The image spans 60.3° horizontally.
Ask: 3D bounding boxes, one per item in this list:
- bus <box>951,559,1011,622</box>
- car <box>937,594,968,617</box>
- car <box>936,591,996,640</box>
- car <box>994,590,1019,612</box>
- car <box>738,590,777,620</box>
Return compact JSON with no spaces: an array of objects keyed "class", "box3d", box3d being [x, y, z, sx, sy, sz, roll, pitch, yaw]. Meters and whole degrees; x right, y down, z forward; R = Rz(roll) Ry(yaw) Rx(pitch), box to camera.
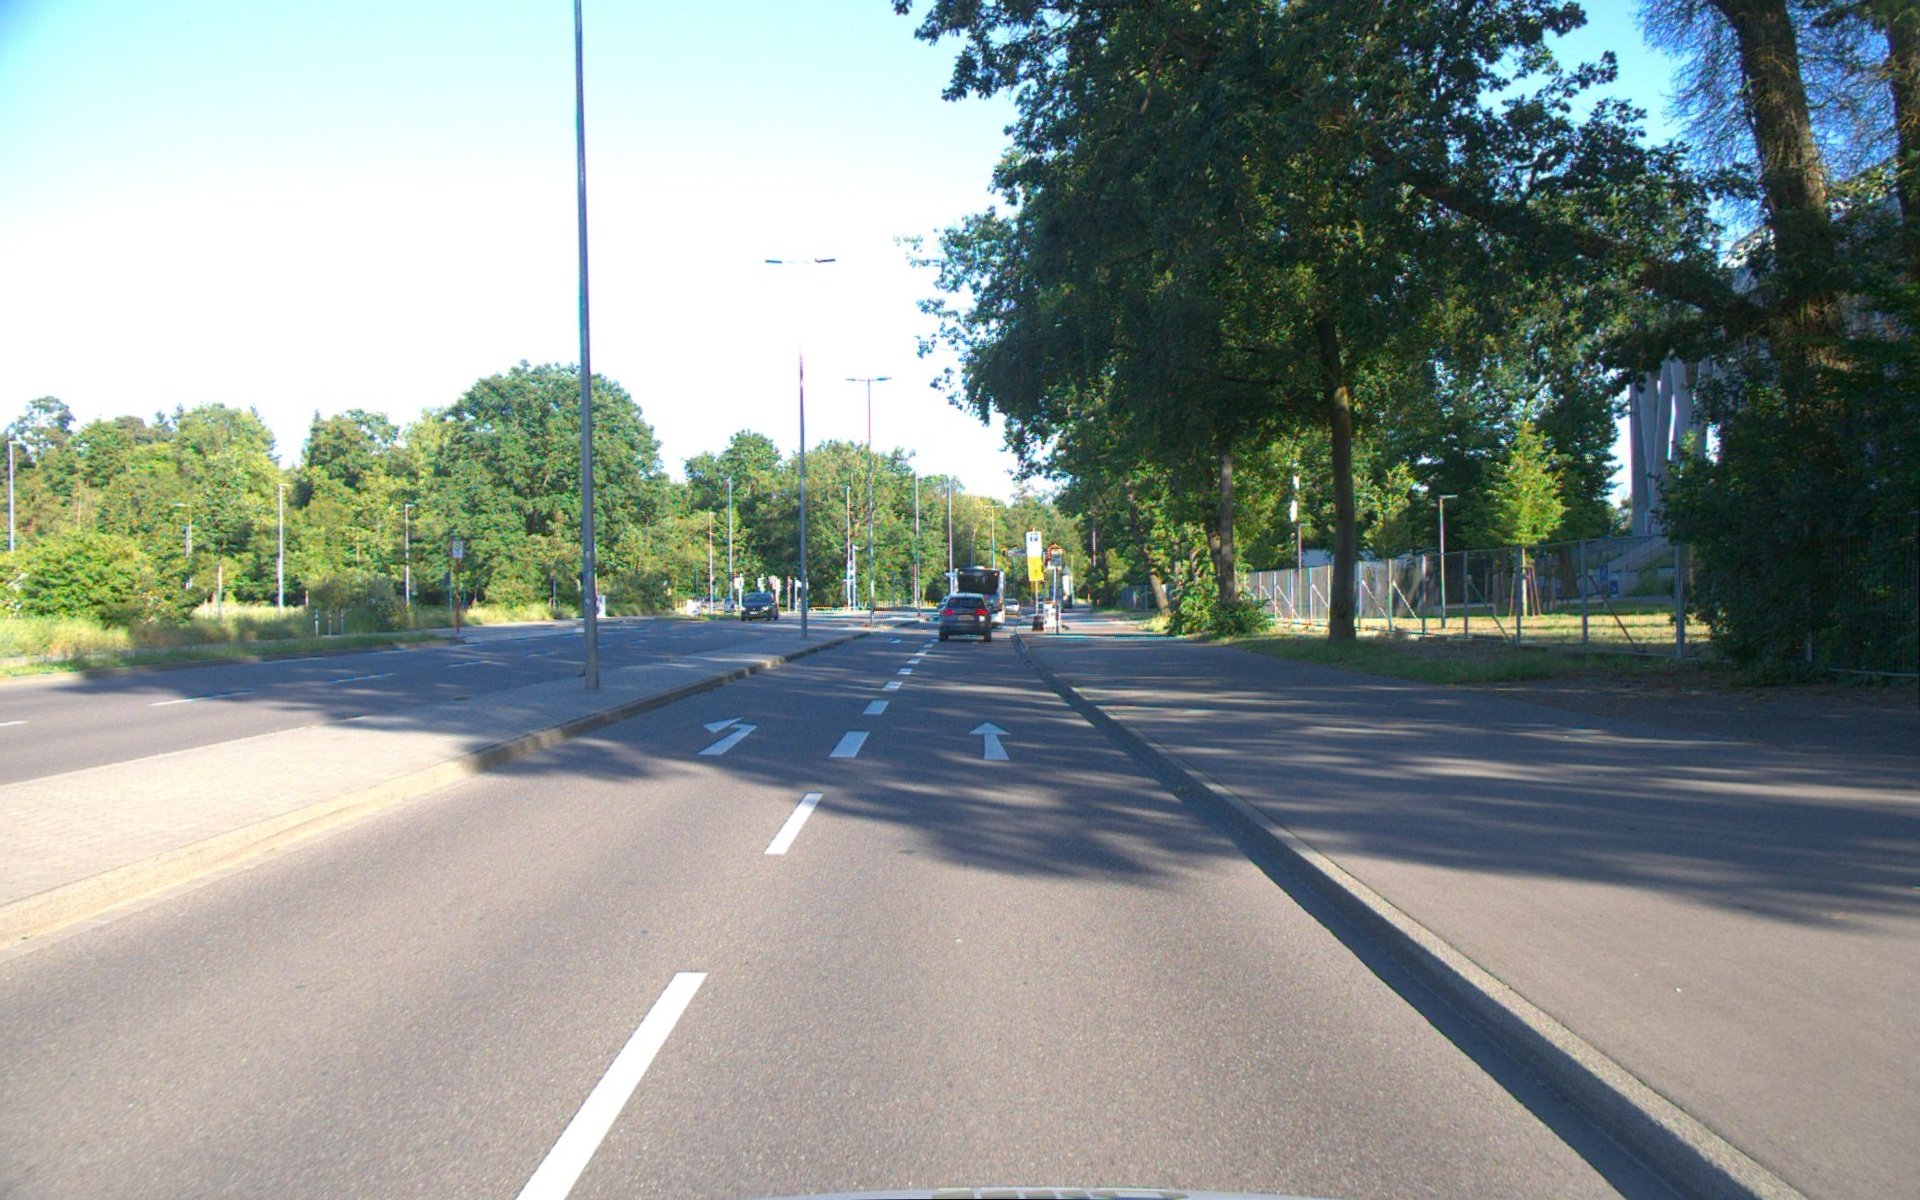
[{"class":"bus","box3d":[1.155,-0.430,84.769,2.540,3.041,9.330,1,0,4]},{"class":"car","box3d":[-0.486,0.363,111.789,1.798,1.545,4.002,0,0,4]},{"class":"car","box3d":[0.255,0.528,58.577,1.859,1.660,4.002,1,0,4]},{"class":"car","box3d":[3.833,0.079,135.536,1.870,1.758,4.581,1,0,3]},{"class":"car","box3d":[-12.332,0.279,100.881,1.746,1.721,4.702,1,0,0]}]
